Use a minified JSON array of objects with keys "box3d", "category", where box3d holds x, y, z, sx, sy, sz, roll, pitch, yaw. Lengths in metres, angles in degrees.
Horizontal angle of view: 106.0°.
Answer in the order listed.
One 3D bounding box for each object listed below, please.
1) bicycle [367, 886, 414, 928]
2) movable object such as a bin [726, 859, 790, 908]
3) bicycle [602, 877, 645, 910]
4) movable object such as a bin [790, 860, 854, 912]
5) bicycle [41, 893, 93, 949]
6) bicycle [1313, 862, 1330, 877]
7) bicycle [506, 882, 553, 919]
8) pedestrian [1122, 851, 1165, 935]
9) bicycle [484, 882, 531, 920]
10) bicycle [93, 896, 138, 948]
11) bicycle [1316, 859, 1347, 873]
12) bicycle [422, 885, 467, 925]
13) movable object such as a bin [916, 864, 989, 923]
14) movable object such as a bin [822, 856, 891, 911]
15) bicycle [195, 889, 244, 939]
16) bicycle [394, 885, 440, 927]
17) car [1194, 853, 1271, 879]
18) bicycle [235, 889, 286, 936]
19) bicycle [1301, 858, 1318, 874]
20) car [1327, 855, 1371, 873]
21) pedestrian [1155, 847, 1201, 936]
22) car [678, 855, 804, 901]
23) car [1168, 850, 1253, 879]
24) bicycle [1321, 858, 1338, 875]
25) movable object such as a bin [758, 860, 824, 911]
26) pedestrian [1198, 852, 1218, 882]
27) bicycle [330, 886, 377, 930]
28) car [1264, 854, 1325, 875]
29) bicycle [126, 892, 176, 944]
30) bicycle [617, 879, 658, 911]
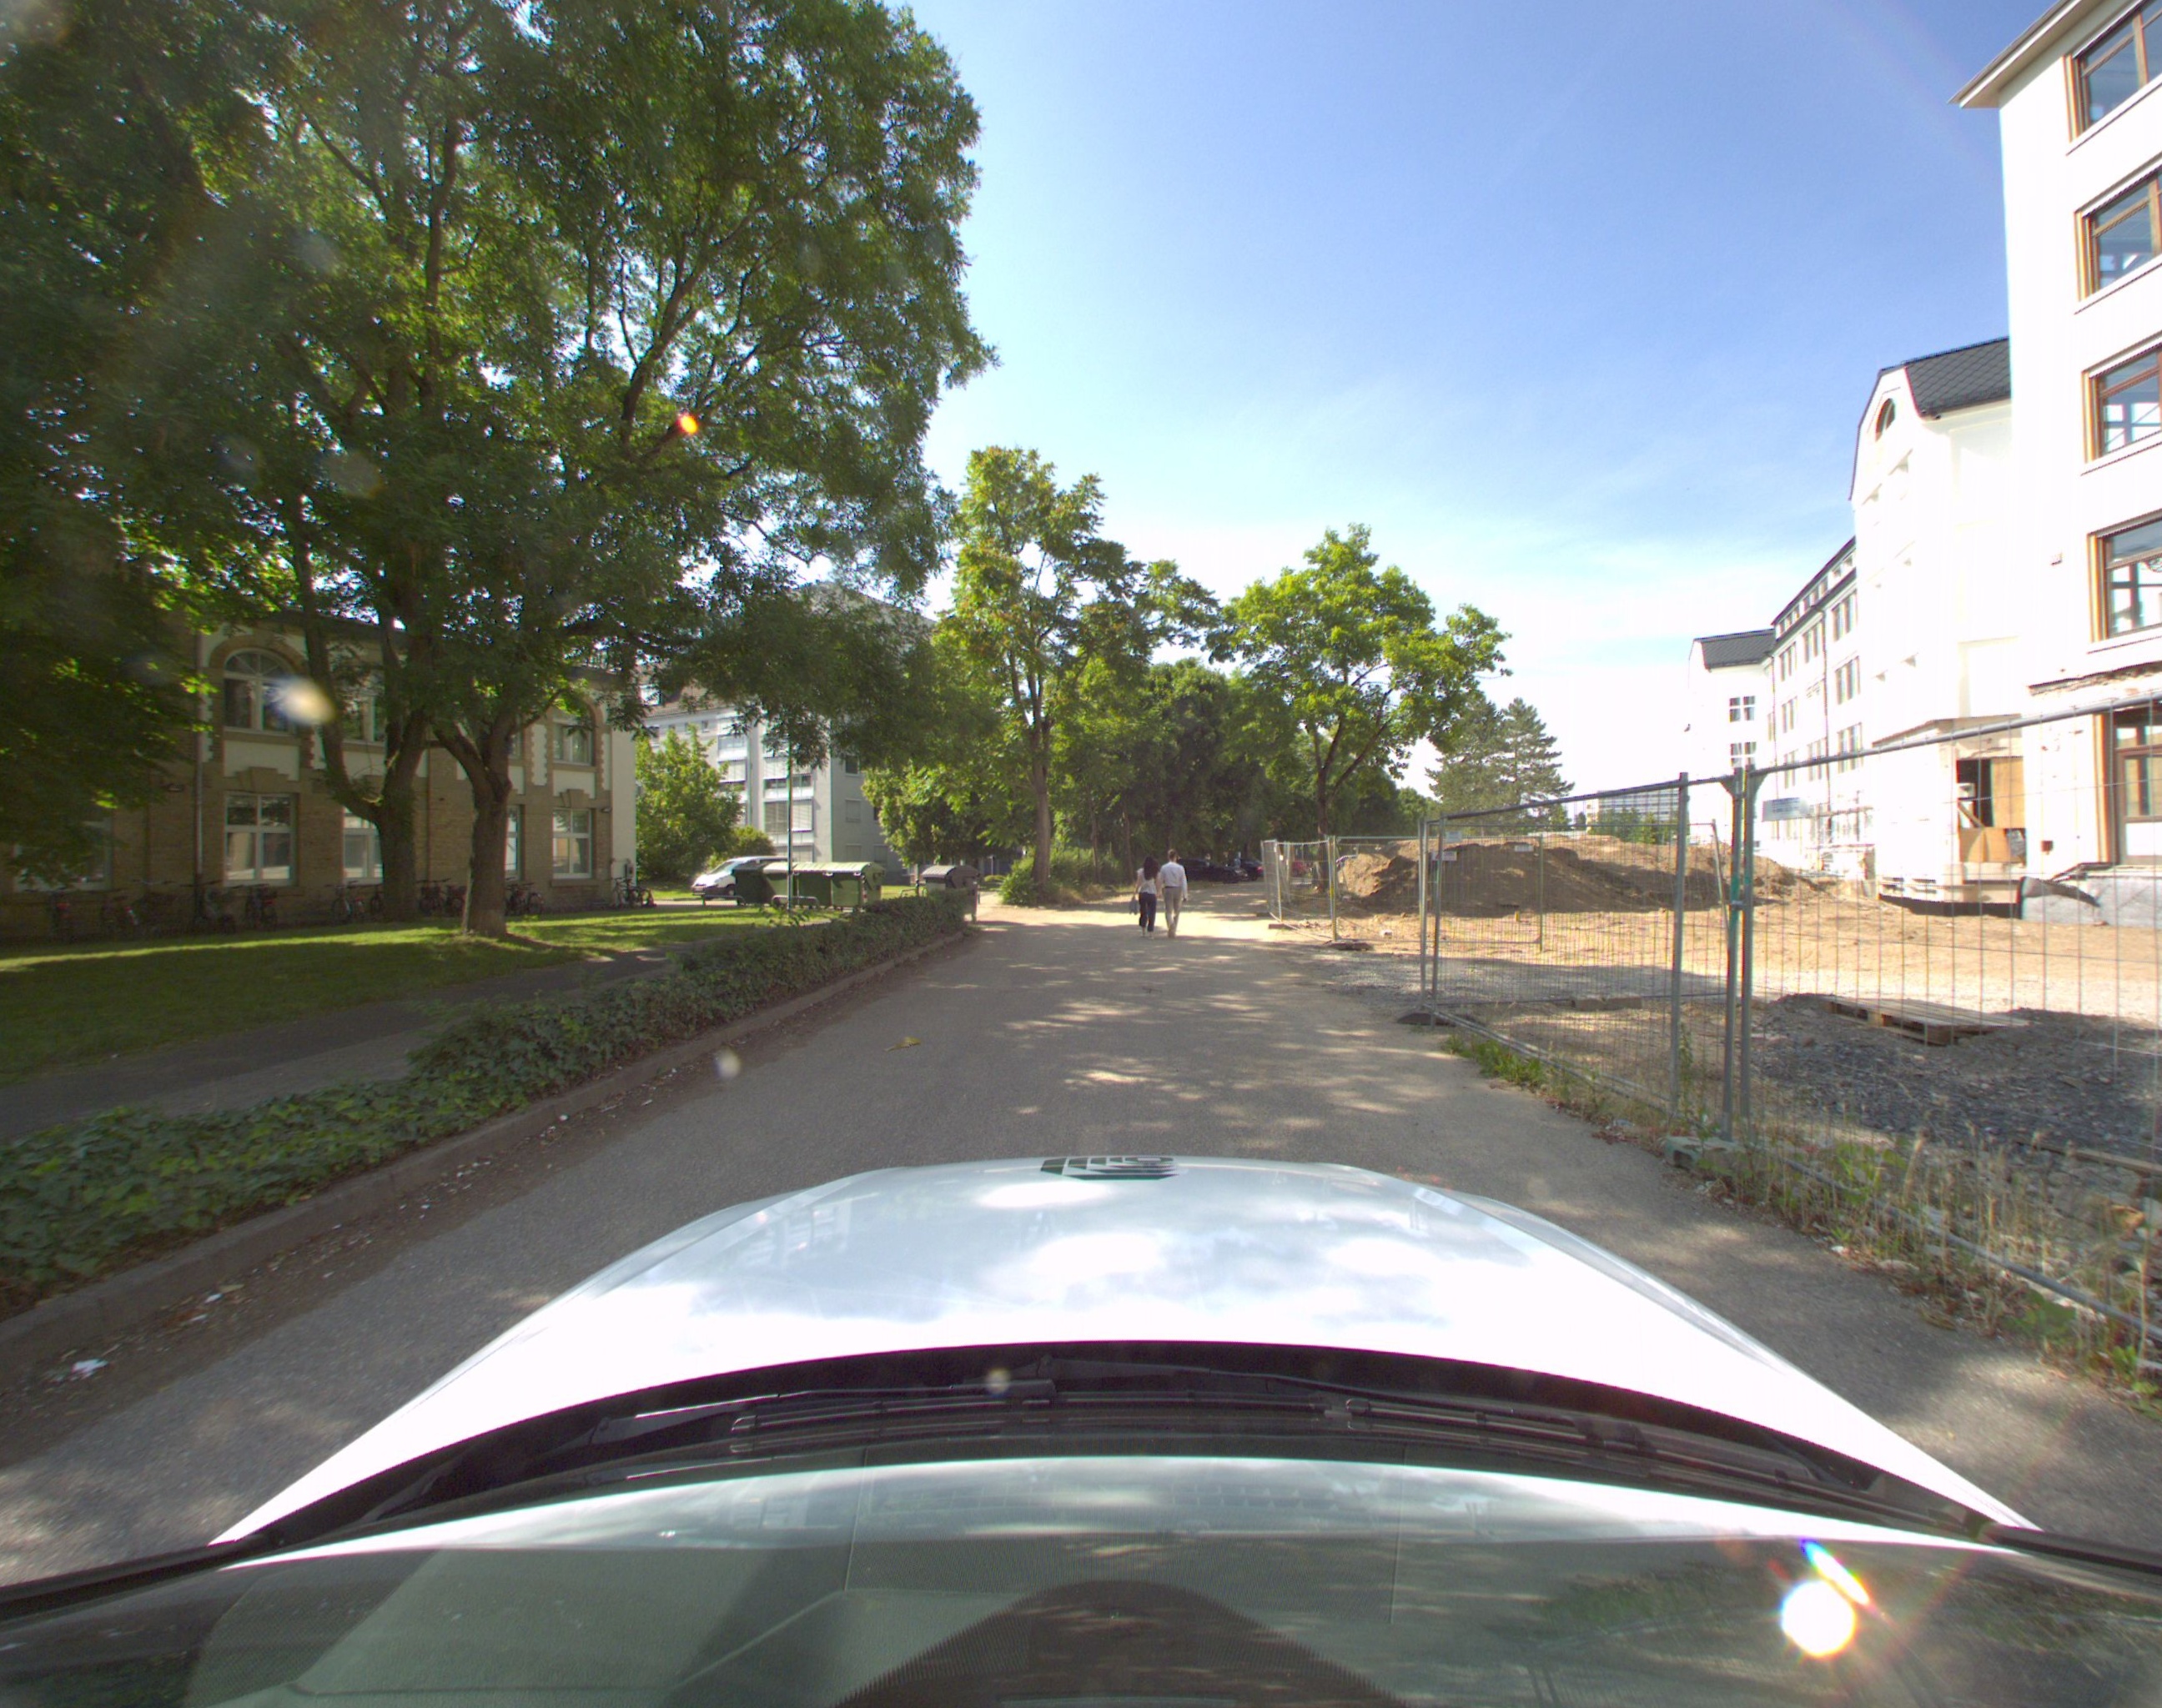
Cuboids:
[{"box3d":[-17.429,1.316,20.541,1.521,0.992,0.449,0,1,32],"category":"bicycle"},{"box3d":[-9.848,0.875,24.858,1.333,1.431,1.256,-1,-1,29],"category":"movable object such as a bin"},{"box3d":[-14.525,1.237,25.856,1.609,0.992,0.449,0,1,32],"category":"bicycle"},{"box3d":[-7.412,0.905,23.350,1.209,1.431,1.254,-1,-1,19],"category":"movable object such as a bin"},{"box3d":[-19.885,1.294,15.965,1.521,0.992,0.449,0,1,32],"category":"bicycle"},{"box3d":[21.085,1.355,71.397,0.808,1.284,2.700,-1,0,29],"category":"bicycle"},{"box3d":[-15.780,1.319,23.291,1.664,0.992,0.449,0,1,32],"category":"bicycle"},{"box3d":[1.245,0.763,16.407,0.734,1.640,0.780,-1,0,-4],"category":"pedestrian"},{"box3d":[-16.078,1.298,22.819,1.645,0.992,0.449,0,1,32],"category":"bicycle"},{"box3d":[-19.626,1.363,16.545,1.579,0.989,0.377,-1,-1,32],"category":"bicycle"},{"box3d":[23.617,1.127,76.828,2.651,1.284,0.823,-1,0,23],"category":"bicycle"},{"box3d":[-16.851,1.337,21.551,1.521,0.992,0.449,0,1,32],"category":"bicycle"},{"box3d":[-3.241,0.966,20.549,1.255,1.397,1.387,-1,-1,-42],"category":"movable object such as a bin"},{"box3d":[-6.217,0.805,22.643,1.322,1.481,1.255,-1,-1,24],"category":"movable object such as a bin"},{"box3d":[-18.832,1.292,17.794,1.521,0.992,0.449,0,1,32],"category":"bicycle"},{"box3d":[-17.152,1.330,21.025,1.521,0.992,0.449,0,1,32],"category":"bicycle"},{"box3d":[9.902,0.789,53.141,4.616,1.584,2.010,-1,1,21],"category":"car"},{"box3d":[-18.581,1.305,18.434,1.521,0.992,0.449,-1,1,30],"category":"bicycle"},{"box3d":[18.857,1.010,67.201,0.707,1.284,2.808,-1,0,29],"category":"bicycle"},{"box3d":[27.338,0.992,83.012,3.948,1.772,1.779,-1,0,32],"category":"car"},{"box3d":[1.929,0.726,16.347,0.753,1.728,0.853,-1,0,-4],"category":"pedestrian"},{"box3d":[-15.237,1.034,36.828,1.974,1.933,5.072,-1,-1,31],"category":"car"},{"box3d":[7.588,0.618,47.658,4.616,1.584,2.010,-1,1,21],"category":"car"},{"box3d":[20.214,1.005,66.263,0.707,1.284,2.700,-1,0,29],"category":"bicycle"},{"box3d":[-8.570,0.917,24.084,1.348,1.431,1.256,-1,-1,29],"category":"movable object such as a bin"},{"box3d":[7.675,0.790,49.325,1.005,1.781,0.824,-1,-1,21],"category":"pedestrian"},{"box3d":[-17.732,1.311,19.845,1.521,0.992,0.449,0,1,32],"category":"bicycle"},{"box3d":[16.586,0.805,63.192,4.246,1.524,1.904,-1,0,28],"category":"car"},{"box3d":[-19.388,1.323,16.969,1.521,0.992,0.449,0,1,32],"category":"bicycle"},{"box3d":[-14.327,1.305,26.309,1.521,0.992,0.449,0,1,32],"category":"bicycle"}]
